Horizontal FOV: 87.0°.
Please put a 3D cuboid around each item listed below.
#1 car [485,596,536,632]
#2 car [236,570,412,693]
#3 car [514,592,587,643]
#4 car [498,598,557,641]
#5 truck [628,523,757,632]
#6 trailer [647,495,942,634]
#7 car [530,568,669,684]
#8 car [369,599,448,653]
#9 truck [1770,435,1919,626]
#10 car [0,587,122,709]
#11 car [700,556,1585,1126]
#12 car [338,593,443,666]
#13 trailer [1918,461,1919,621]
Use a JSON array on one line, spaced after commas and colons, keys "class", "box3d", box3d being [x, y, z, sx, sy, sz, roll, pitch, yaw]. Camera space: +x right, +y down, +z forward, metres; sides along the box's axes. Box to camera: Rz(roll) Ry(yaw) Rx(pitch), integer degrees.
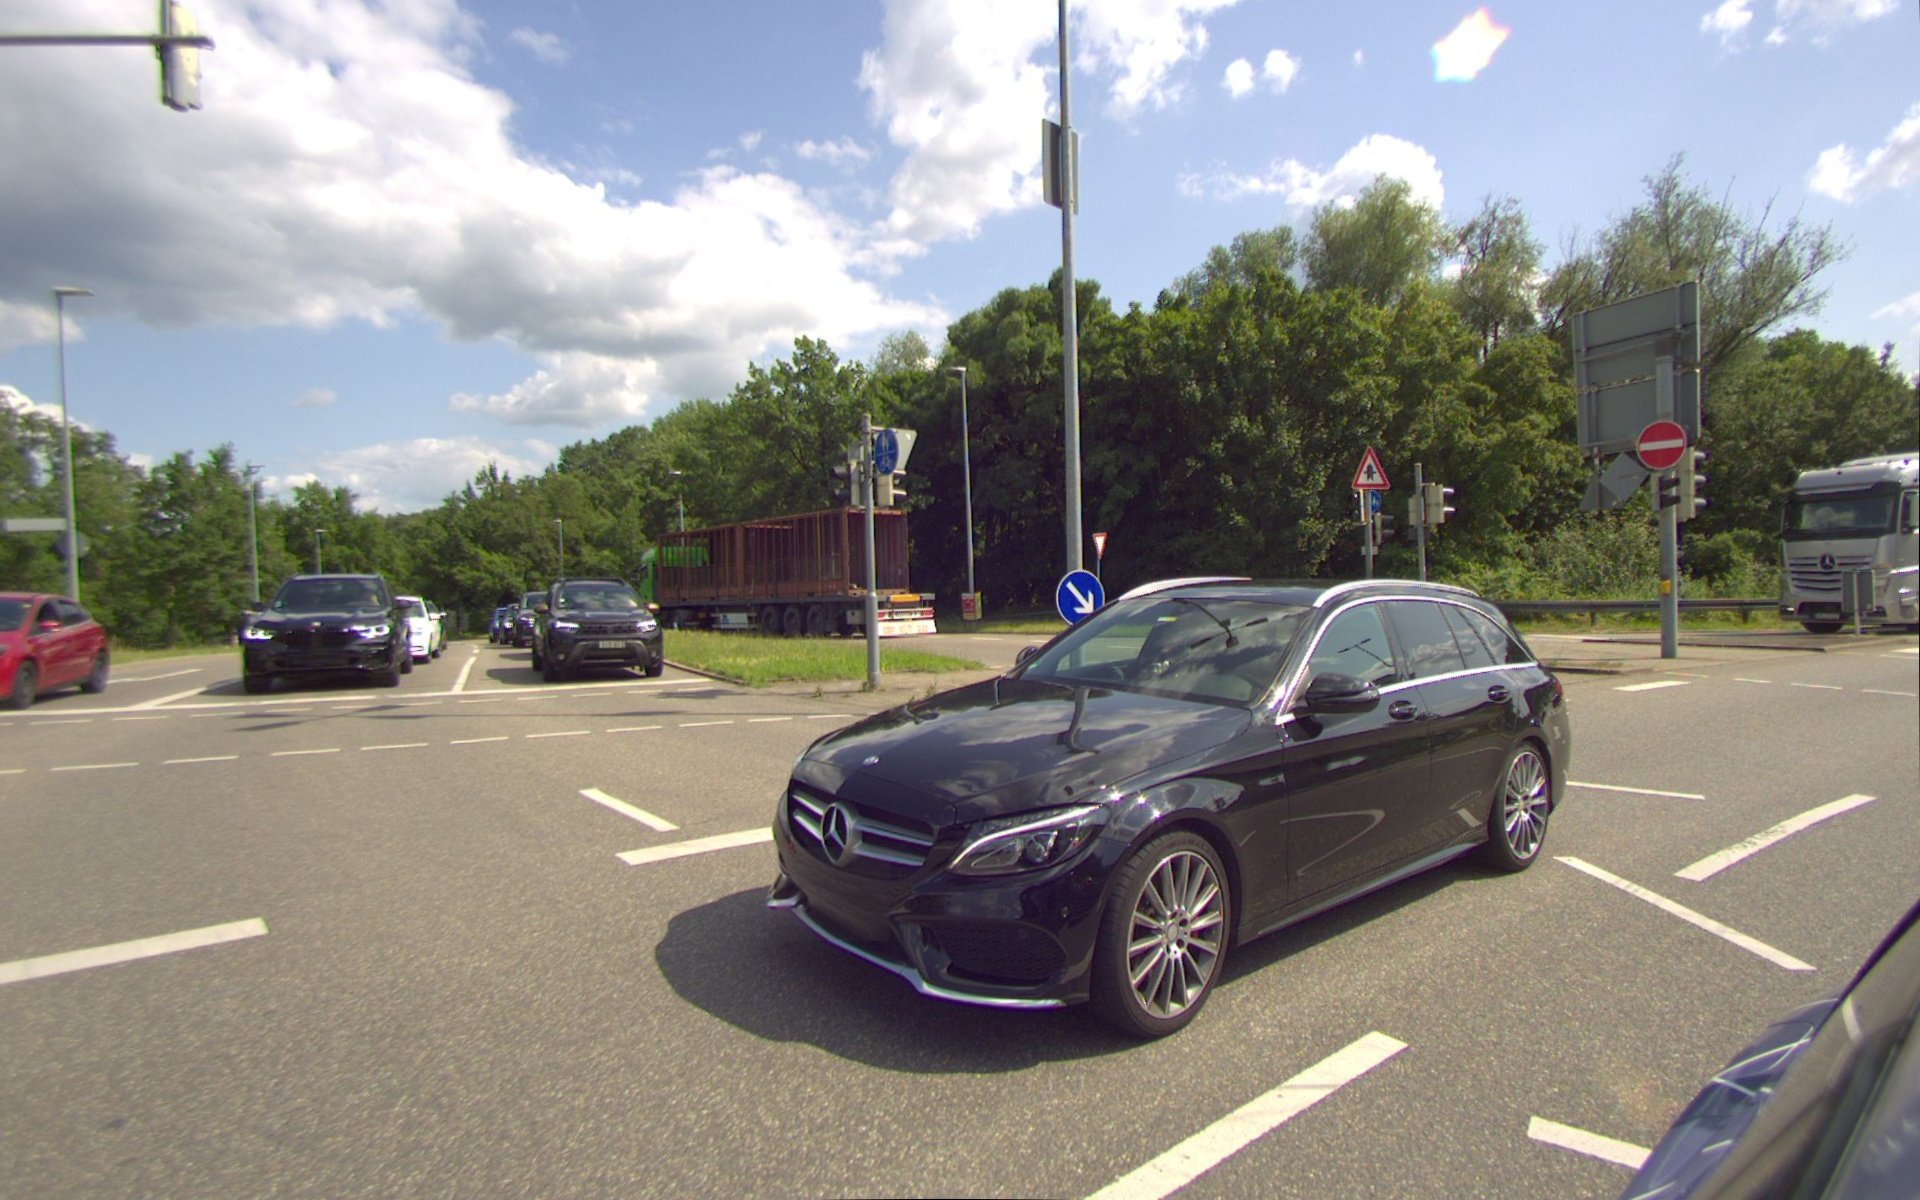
[{"class": "car", "box3d": [-18.635, 0.542, 41.925, 1.841, 1.393, 4.057, -1, 0, -24]}, {"class": "car", "box3d": [-9.896, 0.411, 16.071, 1.800, 1.666, 4.223, -1, 0, -24]}, {"class": "car", "box3d": [-12.213, 0.470, 30.066, 1.841, 1.393, 4.057, -1, 0, -24]}, {"class": "car", "box3d": [-15.465, 0.641, 36.103, 1.841, 1.393, 4.057, -1, 0, -24]}, {"class": "truck", "box3d": [-10.620, -0.783, 39.813, 2.825, 3.953, 5.873, -1, 0, -37]}, {"class": "trailer", "box3d": [-6.258, -0.891, 34.633, 2.604, 3.940, 13.811, -1, 0, -43]}, {"class": "car", "box3d": [-6.211, 0.366, 17.115, 1.807, 1.637, 4.302, -2, 1, -24]}, {"class": "car", "box3d": [-15.613, 0.674, 28.831, 1.665, 1.393, 4.223, -1, 0, -24]}, {"class": "truck", "box3d": [22.329, -1.501, 22.975, 6.676, 3.893, 2.784, -1, 0, -16]}, {"class": "car", "box3d": [-12.568, 0.554, 12.999, 1.723, 1.393, 4.223, -1, 0, -24]}, {"class": "car", "box3d": [1.182, 0.554, 4.725, 4.295, 1.453, 1.794, -3, 3, -41]}, {"class": "car", "box3d": [-12.324, 0.571, 22.104, 1.612, 1.393, 4.223, -1, 0, -24]}, {"class": "trailer", "box3d": [29.552, -1.558, 25.256, 12.062, 3.898, 2.786, -1, 1, -18]}]
